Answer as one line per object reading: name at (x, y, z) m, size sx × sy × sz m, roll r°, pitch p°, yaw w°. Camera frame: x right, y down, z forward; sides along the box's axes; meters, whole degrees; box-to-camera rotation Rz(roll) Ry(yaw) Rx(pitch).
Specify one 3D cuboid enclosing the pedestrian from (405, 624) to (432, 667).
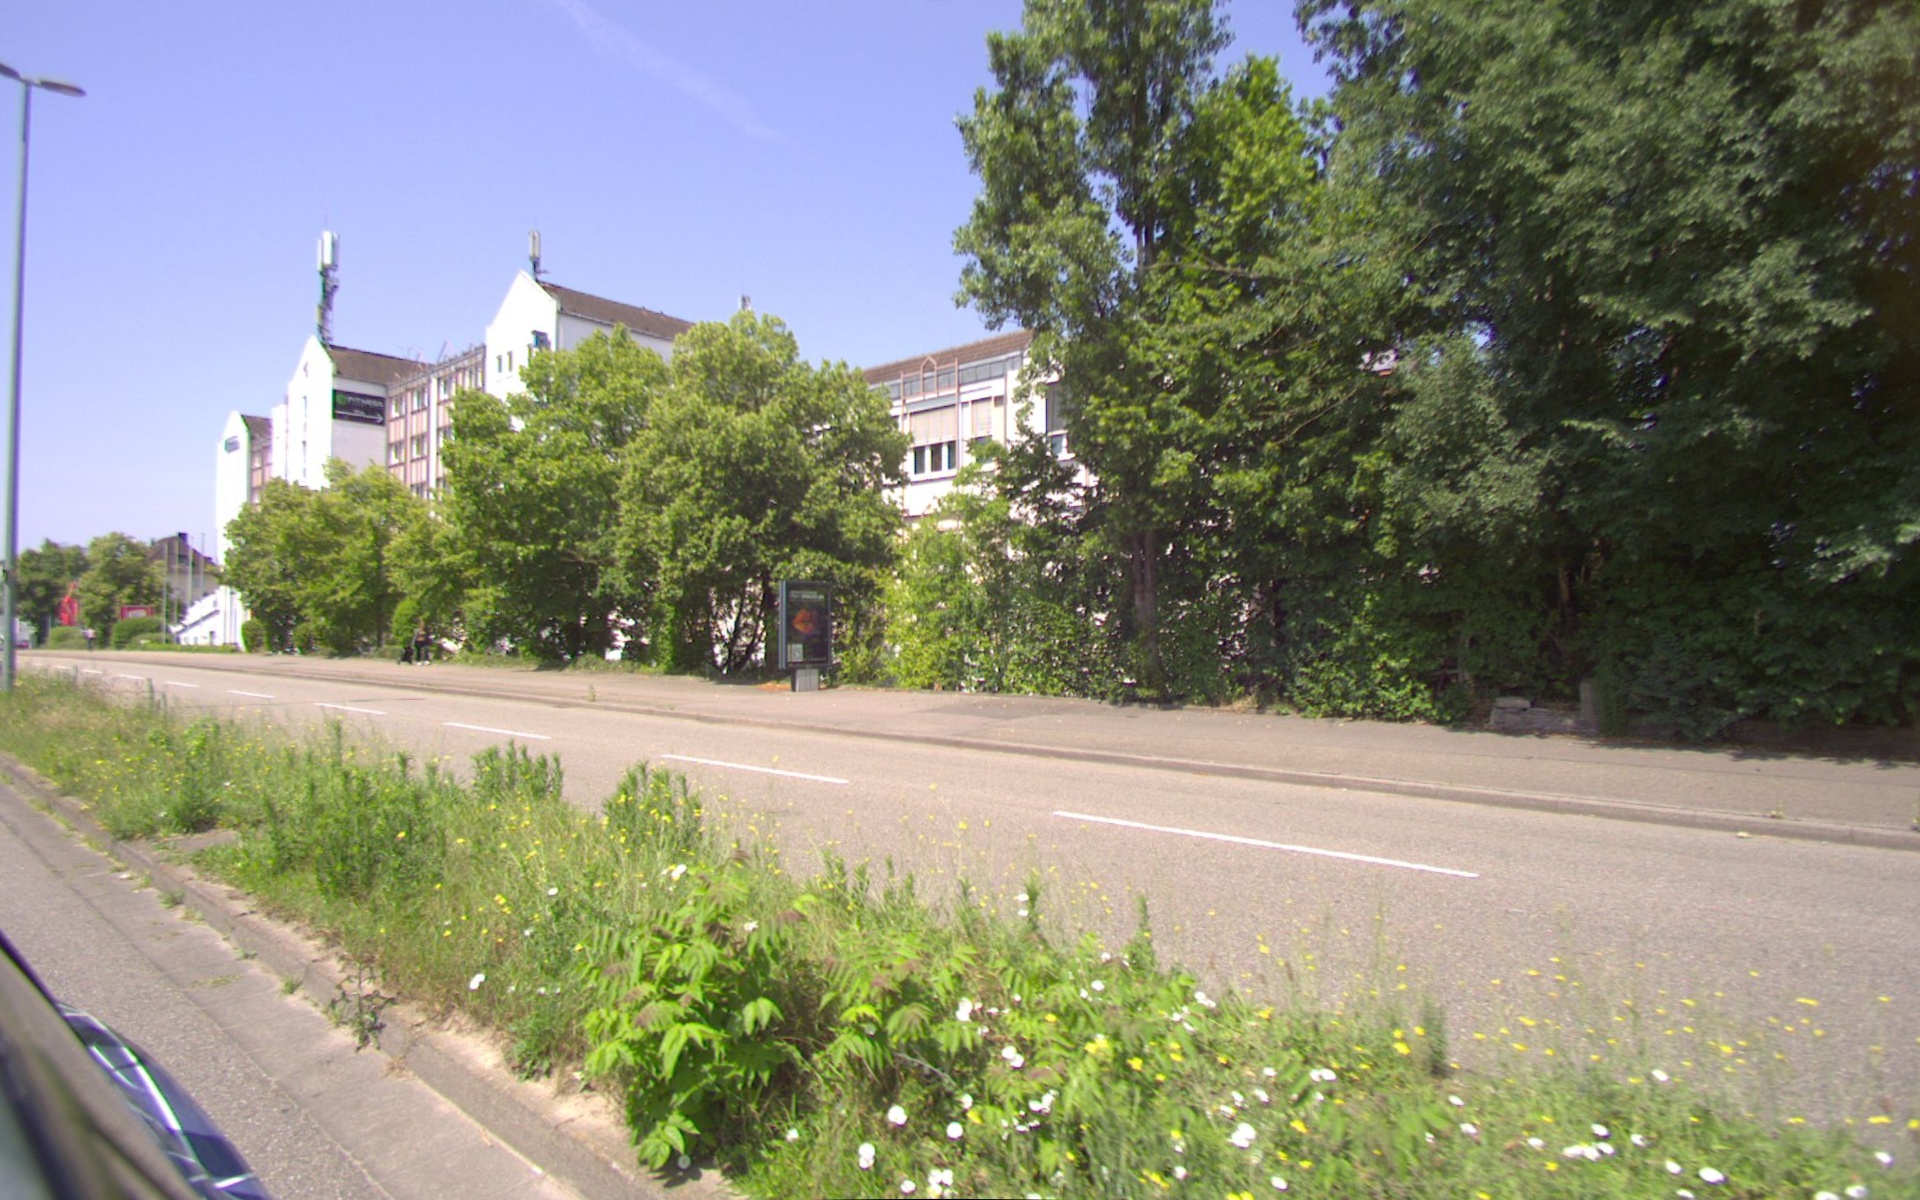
pedestrian at (-19.559, 1.639, 36.553) m, size 0.727 × 1.556 × 0.626 m, roll -2°, pitch -3°, yaw 40°

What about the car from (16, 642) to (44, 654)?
car at (-109.571, 5.629, 119.234) m, size 3.994 × 1.362 × 1.716 m, roll -3°, pitch -3°, yaw 38°

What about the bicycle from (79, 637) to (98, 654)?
bicycle at (-59.042, 3.078, 68.537) m, size 2.060 × 1.081 × 0.545 m, roll -2°, pitch -2°, yaw 38°

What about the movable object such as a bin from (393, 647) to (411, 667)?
movable object such as a bin at (-20.084, 2.063, 36.431) m, size 0.423 × 0.711 × 0.653 m, roll 2°, pitch -3°, yaw -41°

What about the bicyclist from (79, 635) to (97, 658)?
bicyclist at (-59.094, 3.162, 68.565) m, size 1.025 × 1.528 × 0.710 m, roll -2°, pitch -3°, yaw 37°
